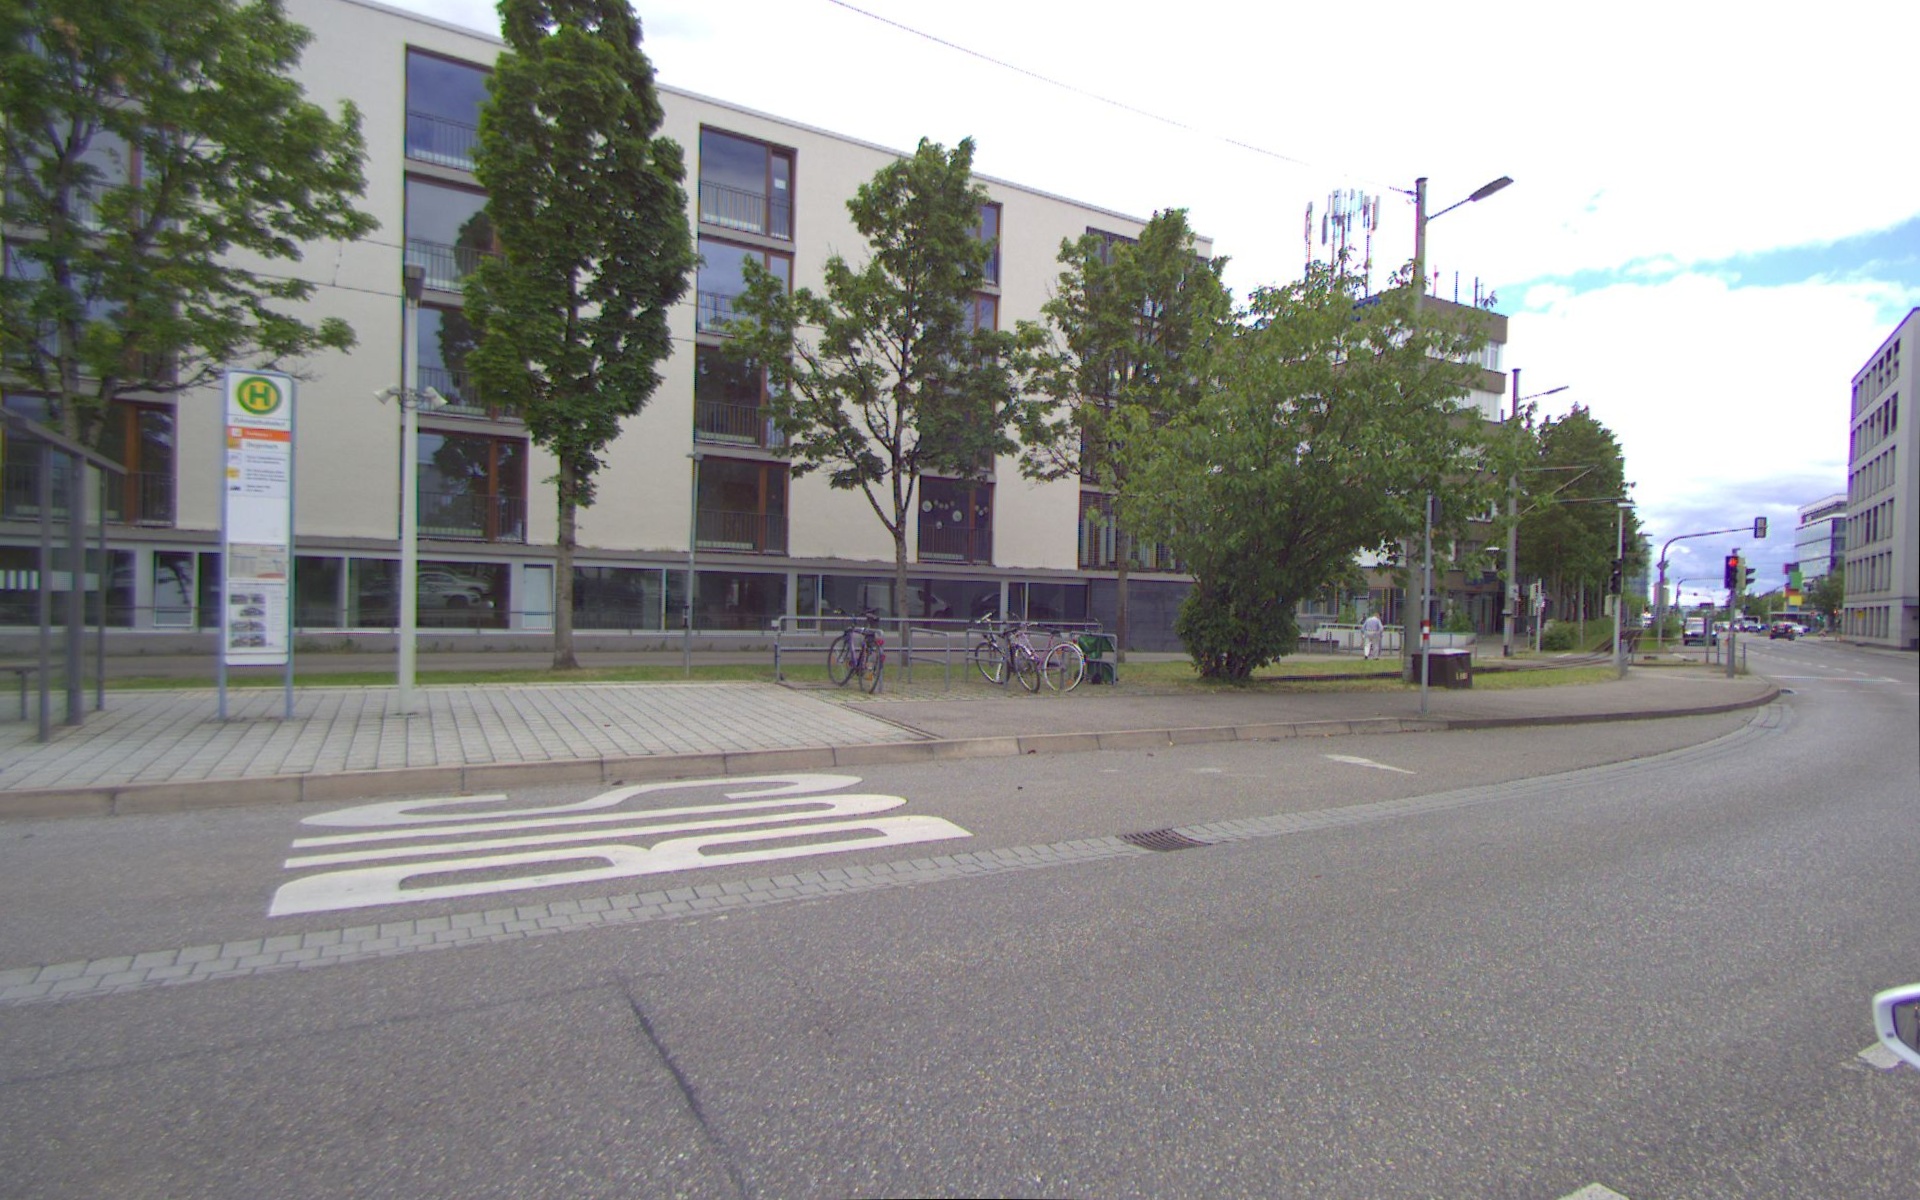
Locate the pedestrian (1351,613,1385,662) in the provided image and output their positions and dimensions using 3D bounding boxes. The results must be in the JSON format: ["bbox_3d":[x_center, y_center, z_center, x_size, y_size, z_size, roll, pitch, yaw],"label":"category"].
[{"bbox_3d":[13.249,1.196,32.615,0.836,1.547,0.993,0,-1,33],"label":"pedestrian"}]

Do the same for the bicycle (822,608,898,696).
[{"bbox_3d":[-1.373,0.673,13.537,0.391,1.039,1.680,1,2,-28],"label":"bicycle"}]

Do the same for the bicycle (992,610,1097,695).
[{"bbox_3d":[1.223,0.750,14.840,0.405,1.103,1.689,1,2,-42],"label":"bicycle"}]

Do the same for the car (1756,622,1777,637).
[{"bbox_3d":[92.006,3.300,114.580,1.737,1.630,4.171,2,0,38],"label":"car"}]

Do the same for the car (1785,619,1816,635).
[{"bbox_3d":[98.270,3.171,117.477,1.963,1.700,3.995,1,0,27],"label":"car"}]

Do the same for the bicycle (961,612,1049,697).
[{"bbox_3d":[0.623,0.749,14.429,0.403,1.060,1.741,1,2,-28],"label":"bicycle"}]

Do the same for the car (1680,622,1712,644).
[{"bbox_3d":[50.257,2.234,68.567,1.746,1.498,3.985,-1,-2,37],"label":"car"}]

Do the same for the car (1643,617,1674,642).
[{"bbox_3d":[51.666,2.176,74.245,1.660,1.832,4.335,-1,-2,38],"label":"car"}]

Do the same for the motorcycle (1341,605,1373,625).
[{"bbox_3d":[25.320,0.960,64.069,0.562,1.215,1.867,1,0,-34],"label":"motorcycle"}]

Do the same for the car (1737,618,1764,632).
[{"bbox_3d":[111.938,3.490,142.255,1.961,1.877,3.998,2,0,23],"label":"car"}]

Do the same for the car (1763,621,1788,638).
[{"bbox_3d":[81.288,2.916,100.144,1.737,1.630,4.171,2,0,38],"label":"car"}]

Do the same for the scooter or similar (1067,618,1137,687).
[{"bbox_3d":[2.254,0.818,15.944,0.767,1.023,0.781,1,0,-38],"label":"scooter or similar"}]

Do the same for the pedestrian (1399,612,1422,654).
[{"bbox_3d":[18.711,1.381,41.702,0.678,1.728,0.681,1,-1,-42],"label":"pedestrian"}]
